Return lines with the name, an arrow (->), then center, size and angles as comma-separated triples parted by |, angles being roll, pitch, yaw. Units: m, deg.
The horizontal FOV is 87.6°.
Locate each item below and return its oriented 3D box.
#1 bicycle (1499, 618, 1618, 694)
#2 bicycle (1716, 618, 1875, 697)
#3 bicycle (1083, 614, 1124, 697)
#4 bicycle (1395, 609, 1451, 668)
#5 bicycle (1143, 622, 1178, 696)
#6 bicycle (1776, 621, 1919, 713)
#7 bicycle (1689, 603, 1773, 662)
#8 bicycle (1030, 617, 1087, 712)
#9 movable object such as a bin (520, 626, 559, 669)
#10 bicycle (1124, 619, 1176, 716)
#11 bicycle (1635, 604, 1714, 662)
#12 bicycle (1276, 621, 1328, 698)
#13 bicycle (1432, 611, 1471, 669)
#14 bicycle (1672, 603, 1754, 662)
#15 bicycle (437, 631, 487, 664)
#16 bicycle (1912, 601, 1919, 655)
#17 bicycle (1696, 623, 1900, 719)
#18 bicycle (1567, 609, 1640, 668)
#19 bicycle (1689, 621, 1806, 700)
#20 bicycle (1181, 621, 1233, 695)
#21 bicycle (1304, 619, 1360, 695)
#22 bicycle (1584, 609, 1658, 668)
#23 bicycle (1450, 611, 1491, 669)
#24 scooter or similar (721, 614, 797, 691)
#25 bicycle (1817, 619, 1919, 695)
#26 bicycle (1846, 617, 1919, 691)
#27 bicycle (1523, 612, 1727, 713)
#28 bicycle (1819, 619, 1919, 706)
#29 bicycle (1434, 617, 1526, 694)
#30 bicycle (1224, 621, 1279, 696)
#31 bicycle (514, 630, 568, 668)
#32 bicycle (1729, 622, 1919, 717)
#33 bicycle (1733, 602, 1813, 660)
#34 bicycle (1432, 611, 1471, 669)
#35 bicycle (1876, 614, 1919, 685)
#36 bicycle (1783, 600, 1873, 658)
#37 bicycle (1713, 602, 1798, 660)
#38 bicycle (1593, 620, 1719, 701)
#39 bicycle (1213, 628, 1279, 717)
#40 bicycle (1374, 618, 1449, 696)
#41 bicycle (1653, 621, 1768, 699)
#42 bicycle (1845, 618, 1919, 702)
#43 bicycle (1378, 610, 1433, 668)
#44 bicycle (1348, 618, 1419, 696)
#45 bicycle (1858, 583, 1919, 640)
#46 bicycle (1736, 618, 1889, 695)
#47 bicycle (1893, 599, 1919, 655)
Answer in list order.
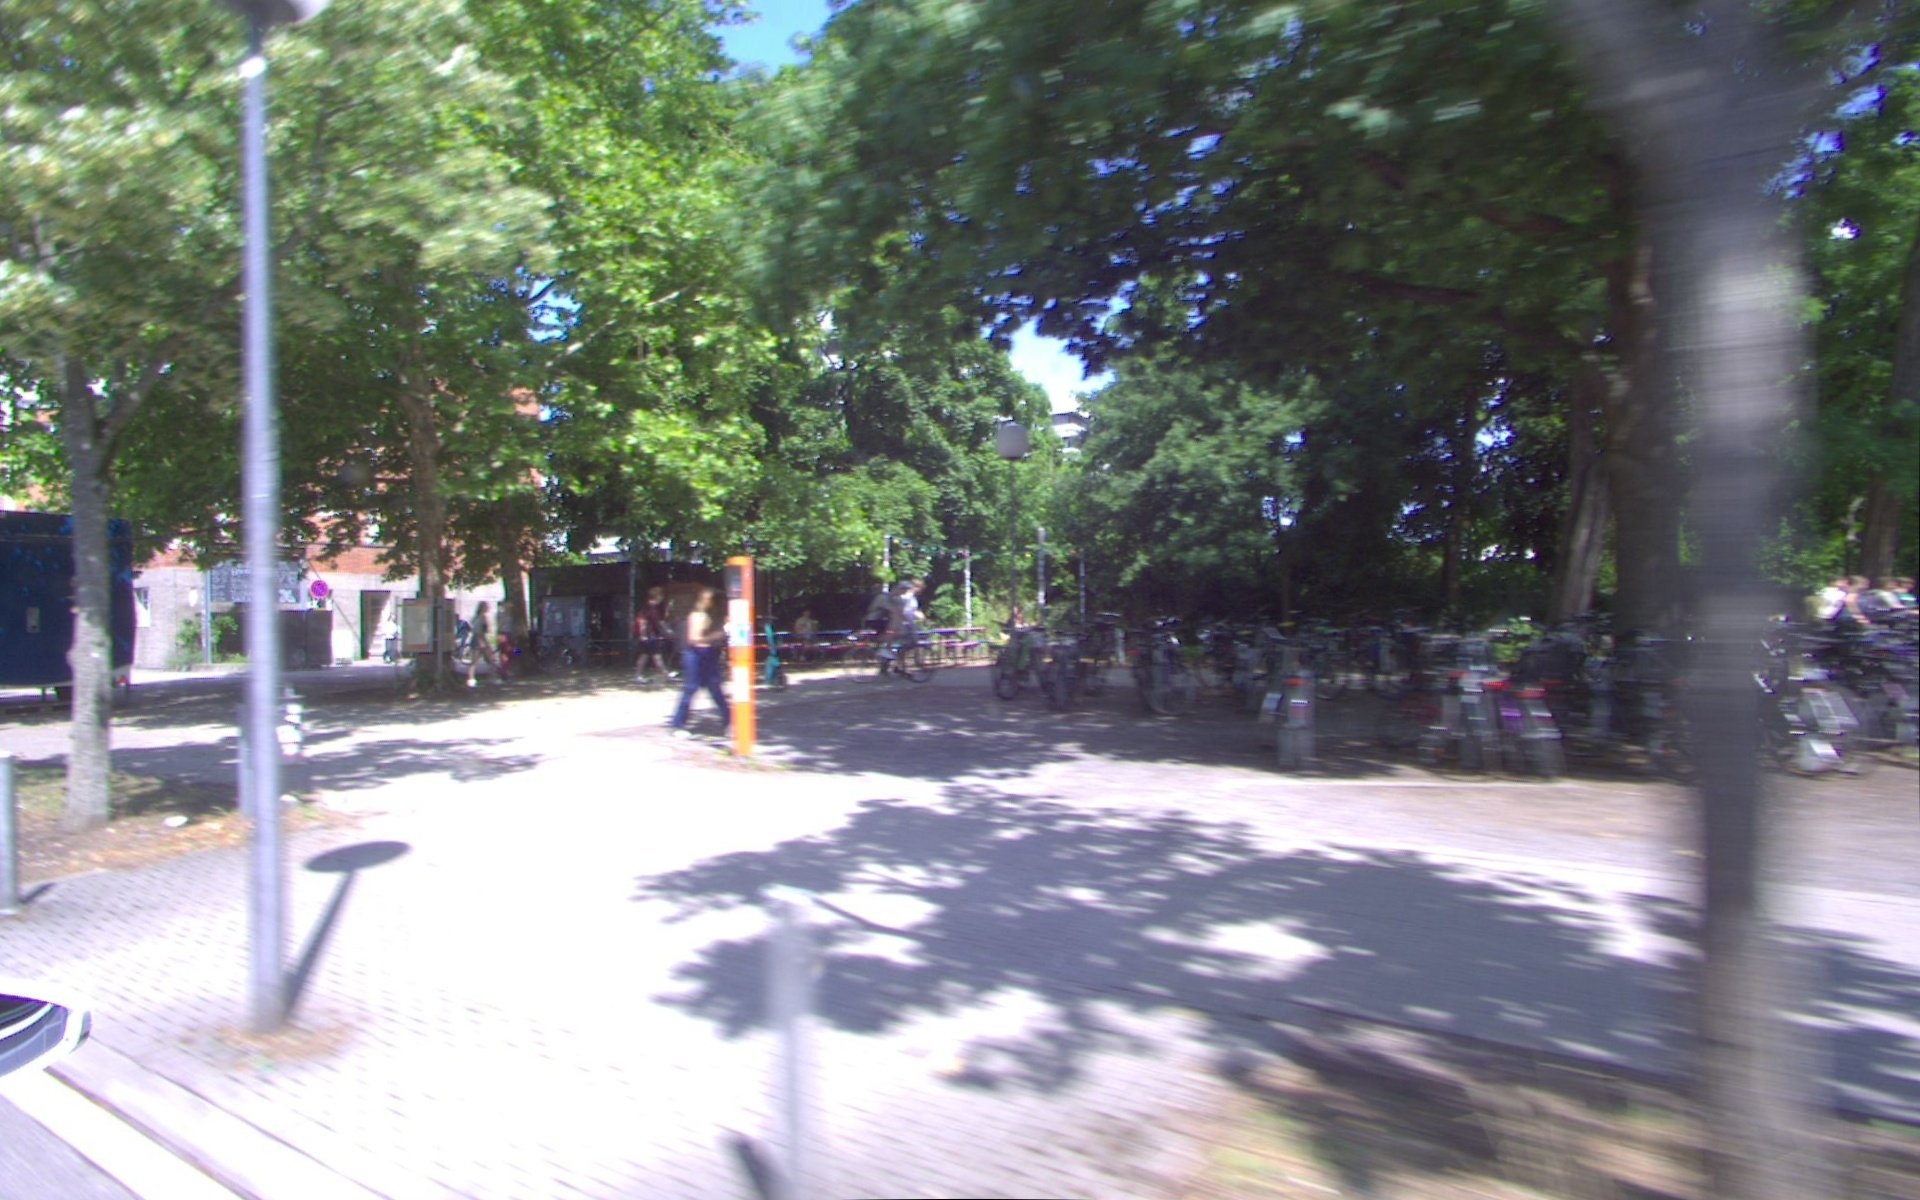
bicycle -> 8.598, 0.776, 14.484 | 0.526, 0.992, 1.903 | -1, 0, -2
bicycle -> 11.660, 0.770, 14.056 | 0.469, 0.992, 1.903 | -1, 0, -7
bicycle -> 2.233, 0.823, 15.454 | 0.469, 1.158, 1.902 | -1, 0, 12
bicycle -> 9.344, 0.756, 20.256 | 0.469, 1.108, 1.753 | -1, 0, 6
bicycle -> 3.019, 0.849, 15.007 | 0.469, 0.992, 1.902 | -1, 0, 12
bicycle -> 10.898, 0.773, 12.000 | 0.469, 0.992, 1.902 | -1, 0, -9
bicycle -> 15.229, 0.621, 19.824 | 0.469, 1.108, 1.611 | -1, 0, 3
bicycle -> 1.324, 0.813, 13.185 | 0.601, 1.133, 1.808 | -1, 0, 10
movable object such as a bin -> -10.973, 1.246, 26.139 | 0.732, 1.085, 0.598 | -3, -2, 32
bicycle -> 2.453, 0.833, 13.035 | 0.601, 1.133, 1.902 | -1, 0, 10
bicycle -> 14.211, 0.635, 19.960 | 0.469, 1.108, 1.611 | -1, 0, 3
bicycle -> 4.925, 0.826, 14.506 | 0.413, 0.992, 1.902 | -1, 0, 10
bicycle -> 10.031, 0.795, 20.465 | 0.341, 1.108, 1.610 | -1, 0, 13
bicycle -> 14.882, 0.628, 19.832 | 0.469, 1.108, 1.611 | -1, 0, 3
bicycle -> -17.243, 1.617, 34.743 | 0.609, 1.094, 2.027 | 0, -1, 4
bicycle -> 20.091, 0.571, 20.023 | 0.469, 1.108, 1.611 | -1, 0, -6
bicycle -> 9.757, 0.792, 11.760 | 0.470, 0.992, 1.900 | -1, 0, -16
bicycle -> 12.826, 0.750, 20.008 | 0.469, 1.108, 1.611 | -1, 0, 3
bicycle -> 11.035, 0.817, 14.101 | 0.300, 0.992, 1.885 | -1, 0, 4
bicycle -> 3.664, 0.837, 14.967 | 0.413, 0.992, 1.903 | -1, 0, 4
bicycle -> 5.400, 0.797, 14.593 | 0.413, 0.992, 1.902 | -1, 0, 10
bicycle -> 13.199, 0.741, 20.045 | 0.469, 1.108, 1.611 | -1, 0, 3
bicycle -> 10.377, 0.790, 20.388 | 0.341, 1.108, 1.610 | -1, 0, 13
scooter or similar -> -3.340, 0.858, 16.606 | 1.276, 1.234, 0.423 | -1, 0, 33
bicycle -> 12.887, 0.772, 13.774 | 0.371, 0.992, 1.903 | -1, 0, -7
bicycle -> 13.298, 0.750, 13.758 | 0.371, 0.992, 1.903 | -1, 0, -7
bicycle -> 7.497, 0.708, 11.352 | 1.868, 1.097, 0.478 | -1, 1, 11
bicycle -> 11.427, 0.746, 11.967 | 0.469, 0.992, 1.902 | -1, 0, -10
bicycle -> 7.376, 0.754, 14.291 | 0.601, 0.992, 1.902 | -1, 0, 10
bicycle -> 4.286, 0.830, 14.797 | 0.469, 0.992, 1.903 | -1, 0, 7
bicycle -> -13.452, 1.557, 32.123 | 1.997, 1.154, 0.572 | -1, -1, 32
bicycle -> 10.301, 0.782, 11.918 | 0.470, 0.992, 1.900 | -1, 0, -16
bicycle -> 16.249, 0.591, 20.051 | 0.341, 1.108, 1.611 | -1, 0, 3
bicycle -> 10.033, 0.794, 20.479 | 0.341, 1.108, 1.610 | -1, 0, 13
bicycle -> 14.007, 0.711, 14.017 | 0.469, 0.992, 1.903 | -1, 0, -7
bicycle -> 17.335, 0.566, 20.042 | 0.469, 1.108, 1.611 | -1, 0, 3
bicycle -> 15.903, 0.598, 20.064 | 0.469, 1.108, 1.611 | -1, 0, 3
bicycle -> 9.577, 0.801, 13.862 | 0.469, 0.992, 1.903 | -1, 0, 2
bicycle -> 3.617, 0.883, 12.773 | 0.601, 0.992, 1.902 | -1, 0, 10
bicycle -> 6.395, 0.773, 14.256 | 0.469, 0.992, 1.903 | -1, 0, 9
bicycle -> 10.546, 0.810, 14.143 | 0.434, 0.992, 1.903 | -1, 0, 8
bicycle -> 11.815, 0.736, 12.031 | 0.469, 0.992, 1.902 | -1, 0, -10
bicycle -> 9.003, 0.763, 20.287 | 0.469, 1.108, 1.753 | -1, 0, 6
bicycle -> 6.038, 0.782, 14.357 | 0.469, 0.992, 1.903 | -1, 0, 9
bicycle -> 18.774, 0.214, 19.808 | 0.469, 1.108, 1.611 | -1, 0, -6
bicycle -> 12.028, 0.765, 14.215 | 0.371, 0.992, 1.903 | -1, 0, -7
bicycle -> 19.215, 0.541, 19.597 | 0.341, 1.108, 1.611 | -1, 0, -4
